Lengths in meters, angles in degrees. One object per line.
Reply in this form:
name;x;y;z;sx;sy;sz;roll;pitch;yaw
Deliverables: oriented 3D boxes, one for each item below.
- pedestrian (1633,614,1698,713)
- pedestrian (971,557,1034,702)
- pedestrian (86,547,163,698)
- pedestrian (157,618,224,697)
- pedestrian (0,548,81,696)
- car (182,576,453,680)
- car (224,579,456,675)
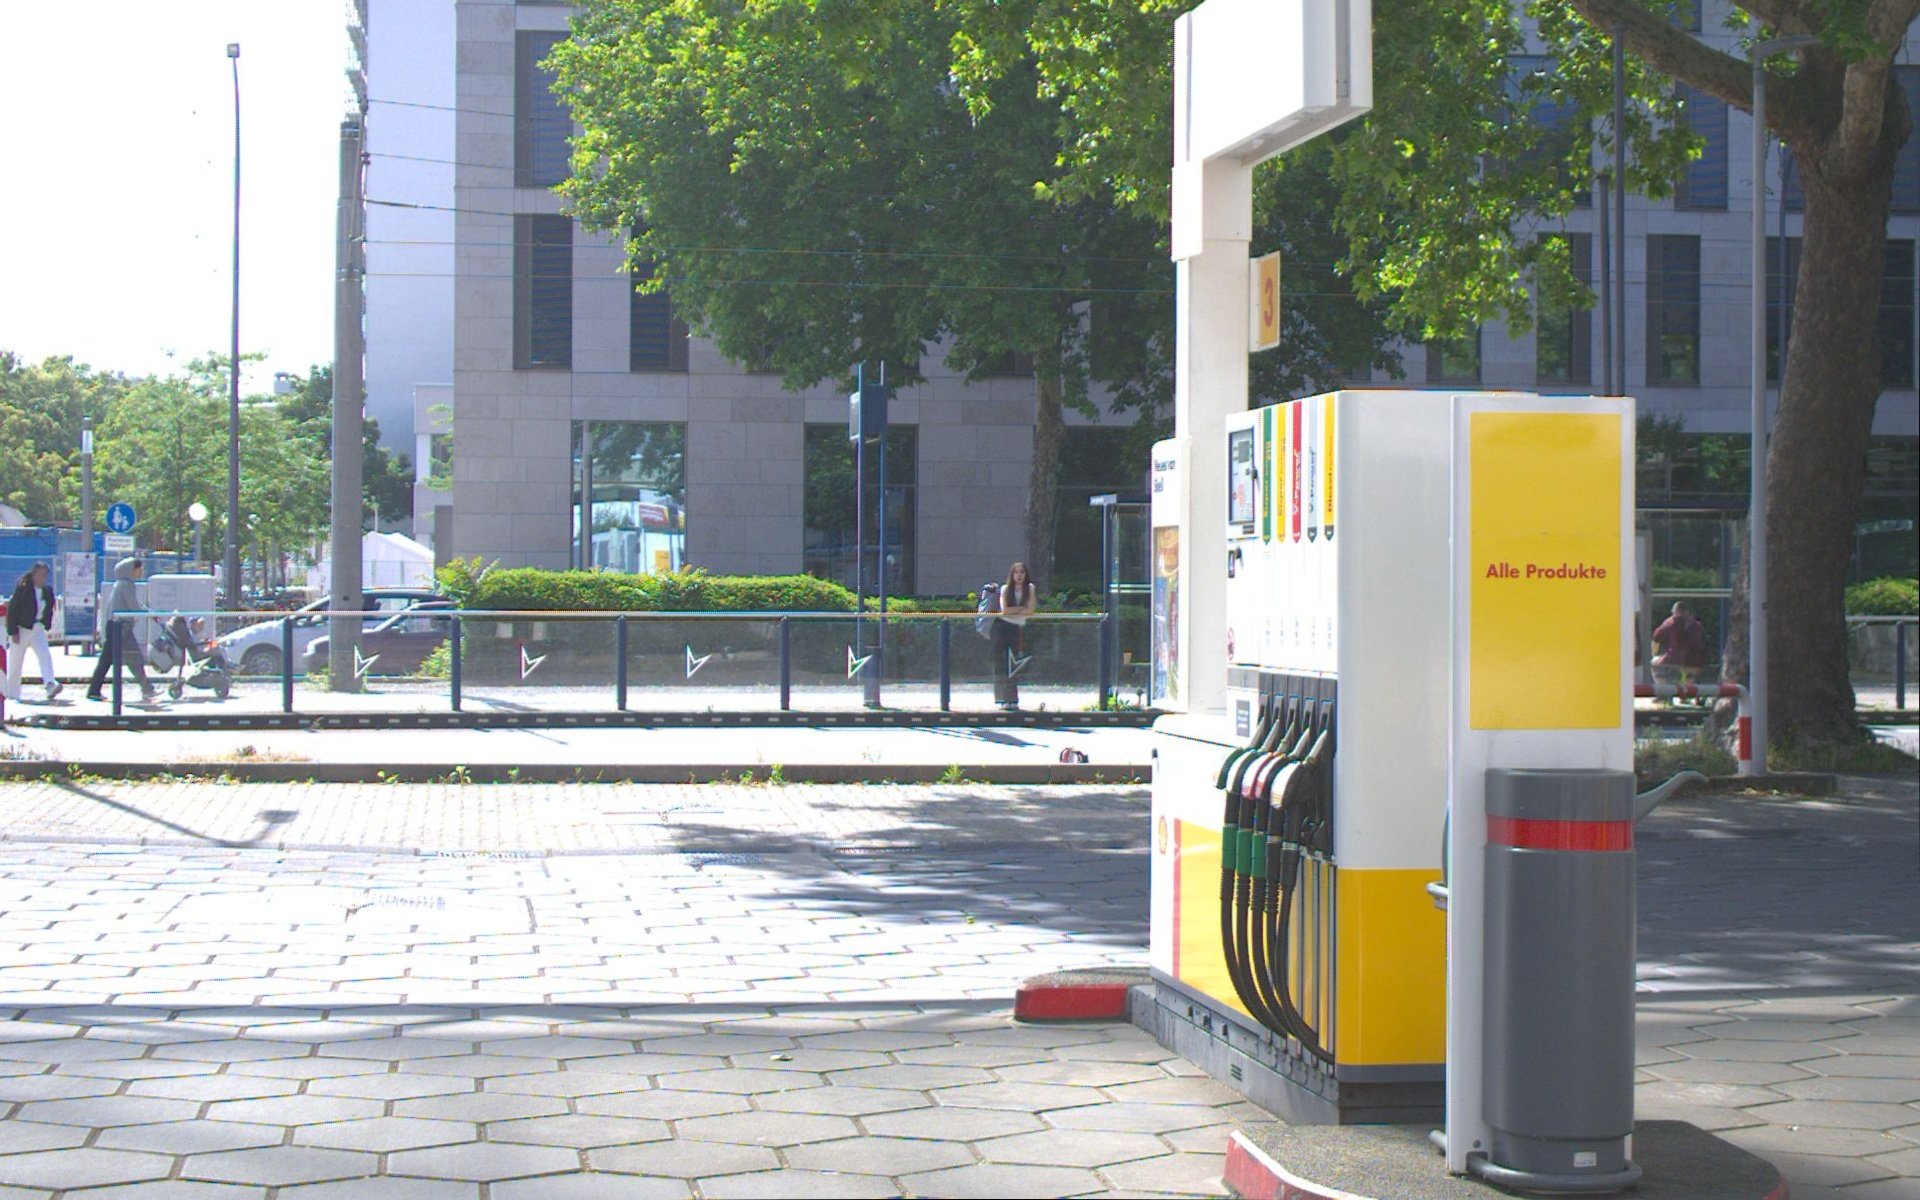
pedestrian;8.160;0.731;39.772;0.628;1.134;0.524;0;0;-2
pedestrian;0.469;0.328;38.367;0.584;1.586;0.670;0;2;-9
pedestrian;-9.420;0.251;38.780;0.776;1.677;0.503;0;0;-6
pedestrian;-8.695;0.650;38.850;0.690;0.877;0.503;0;0;-7
pedestrian;-10.609;0.247;39.373;0.932;1.677;0.503;1;0;1
car;-9.864;0.423;52.715;3.986;1.547;1.704;0;0;-13
car;-10.264;0.442;56.868;3.681;1.547;1.592;0;0;-13
